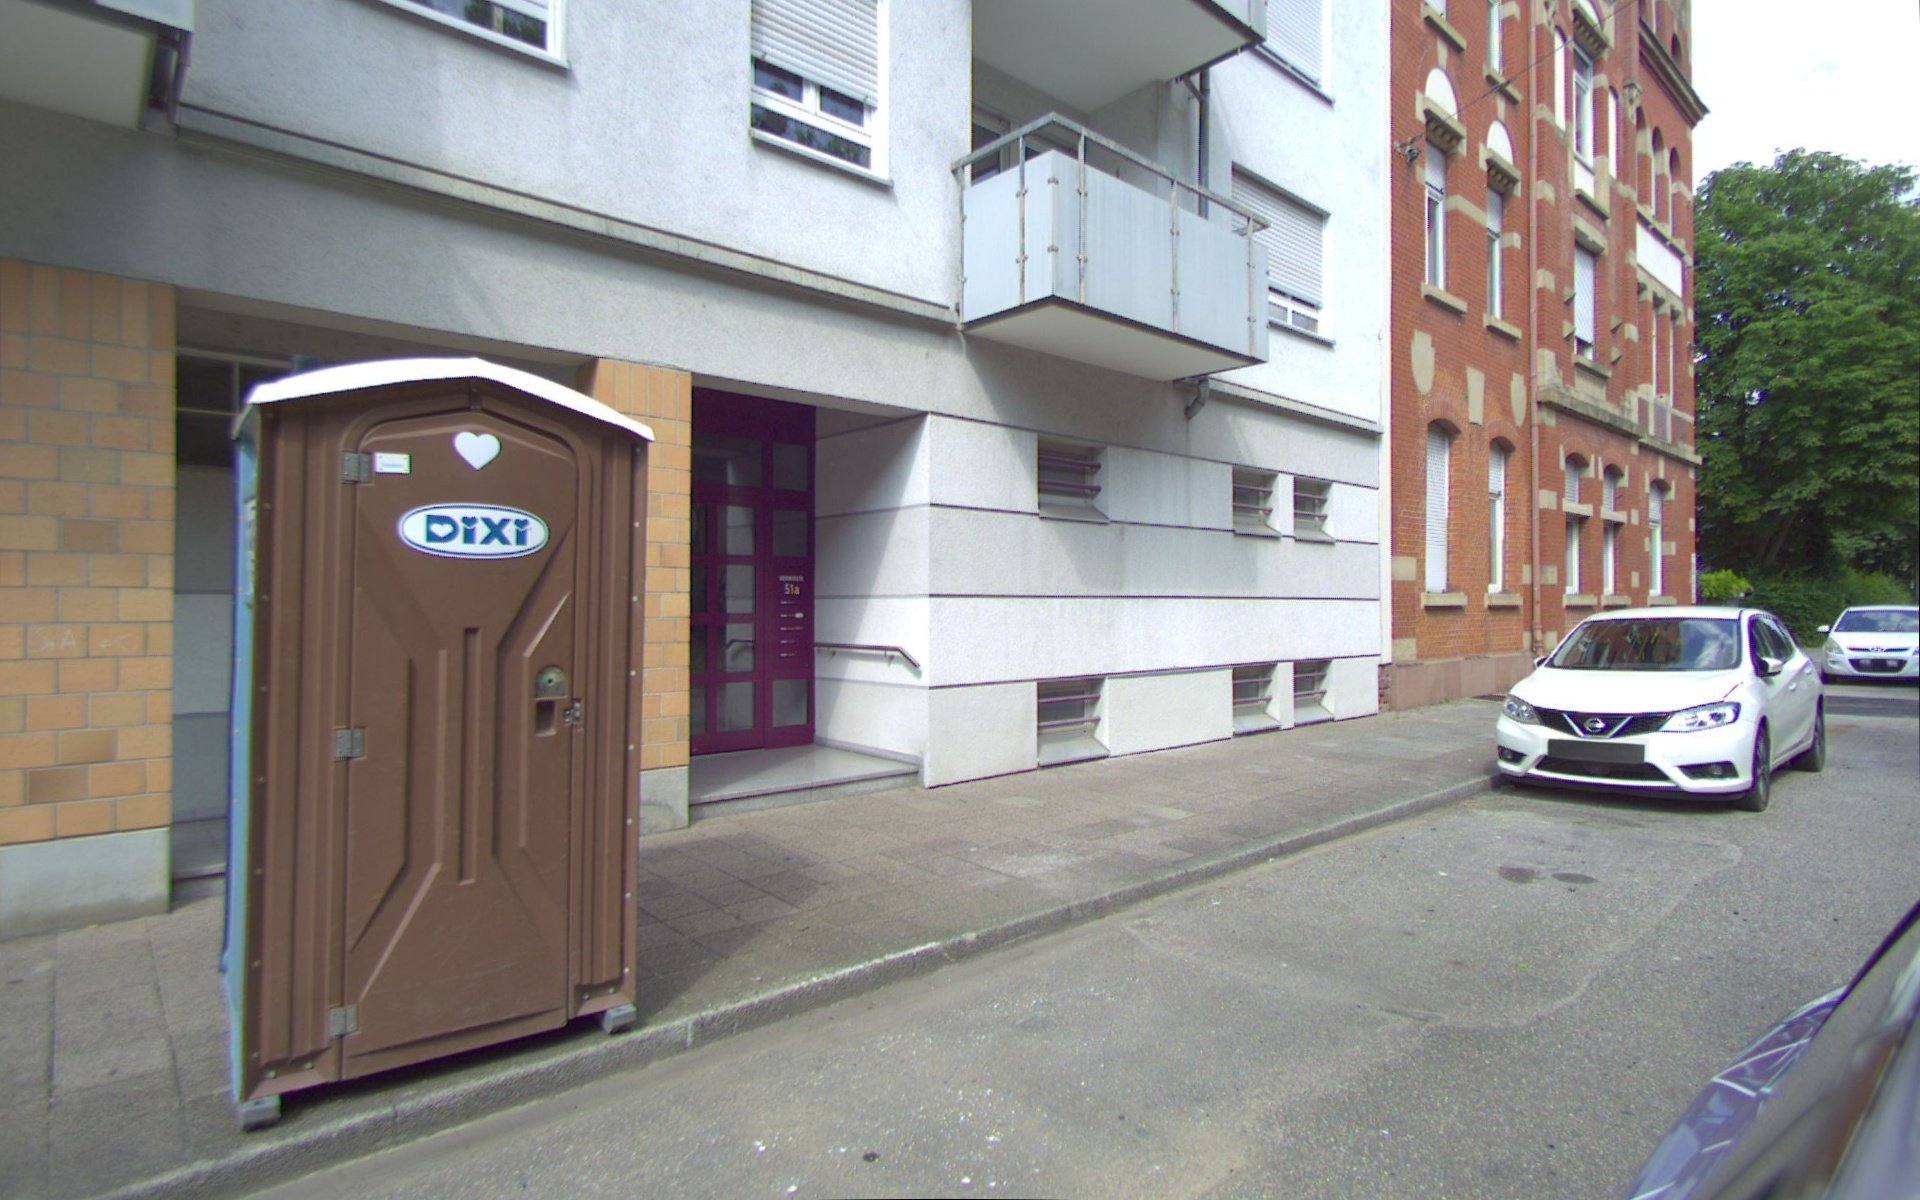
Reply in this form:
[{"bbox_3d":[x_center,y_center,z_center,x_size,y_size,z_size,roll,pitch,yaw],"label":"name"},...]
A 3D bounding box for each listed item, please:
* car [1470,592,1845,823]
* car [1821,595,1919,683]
[{"bbox_3d":[6.184,0.736,8.804,3.971,1.549,1.799,0,-1,-42],"label":"car"},{"bbox_3d":[18.143,0.695,19.519,3.971,1.549,1.799,0,-1,-42],"label":"car"}]
